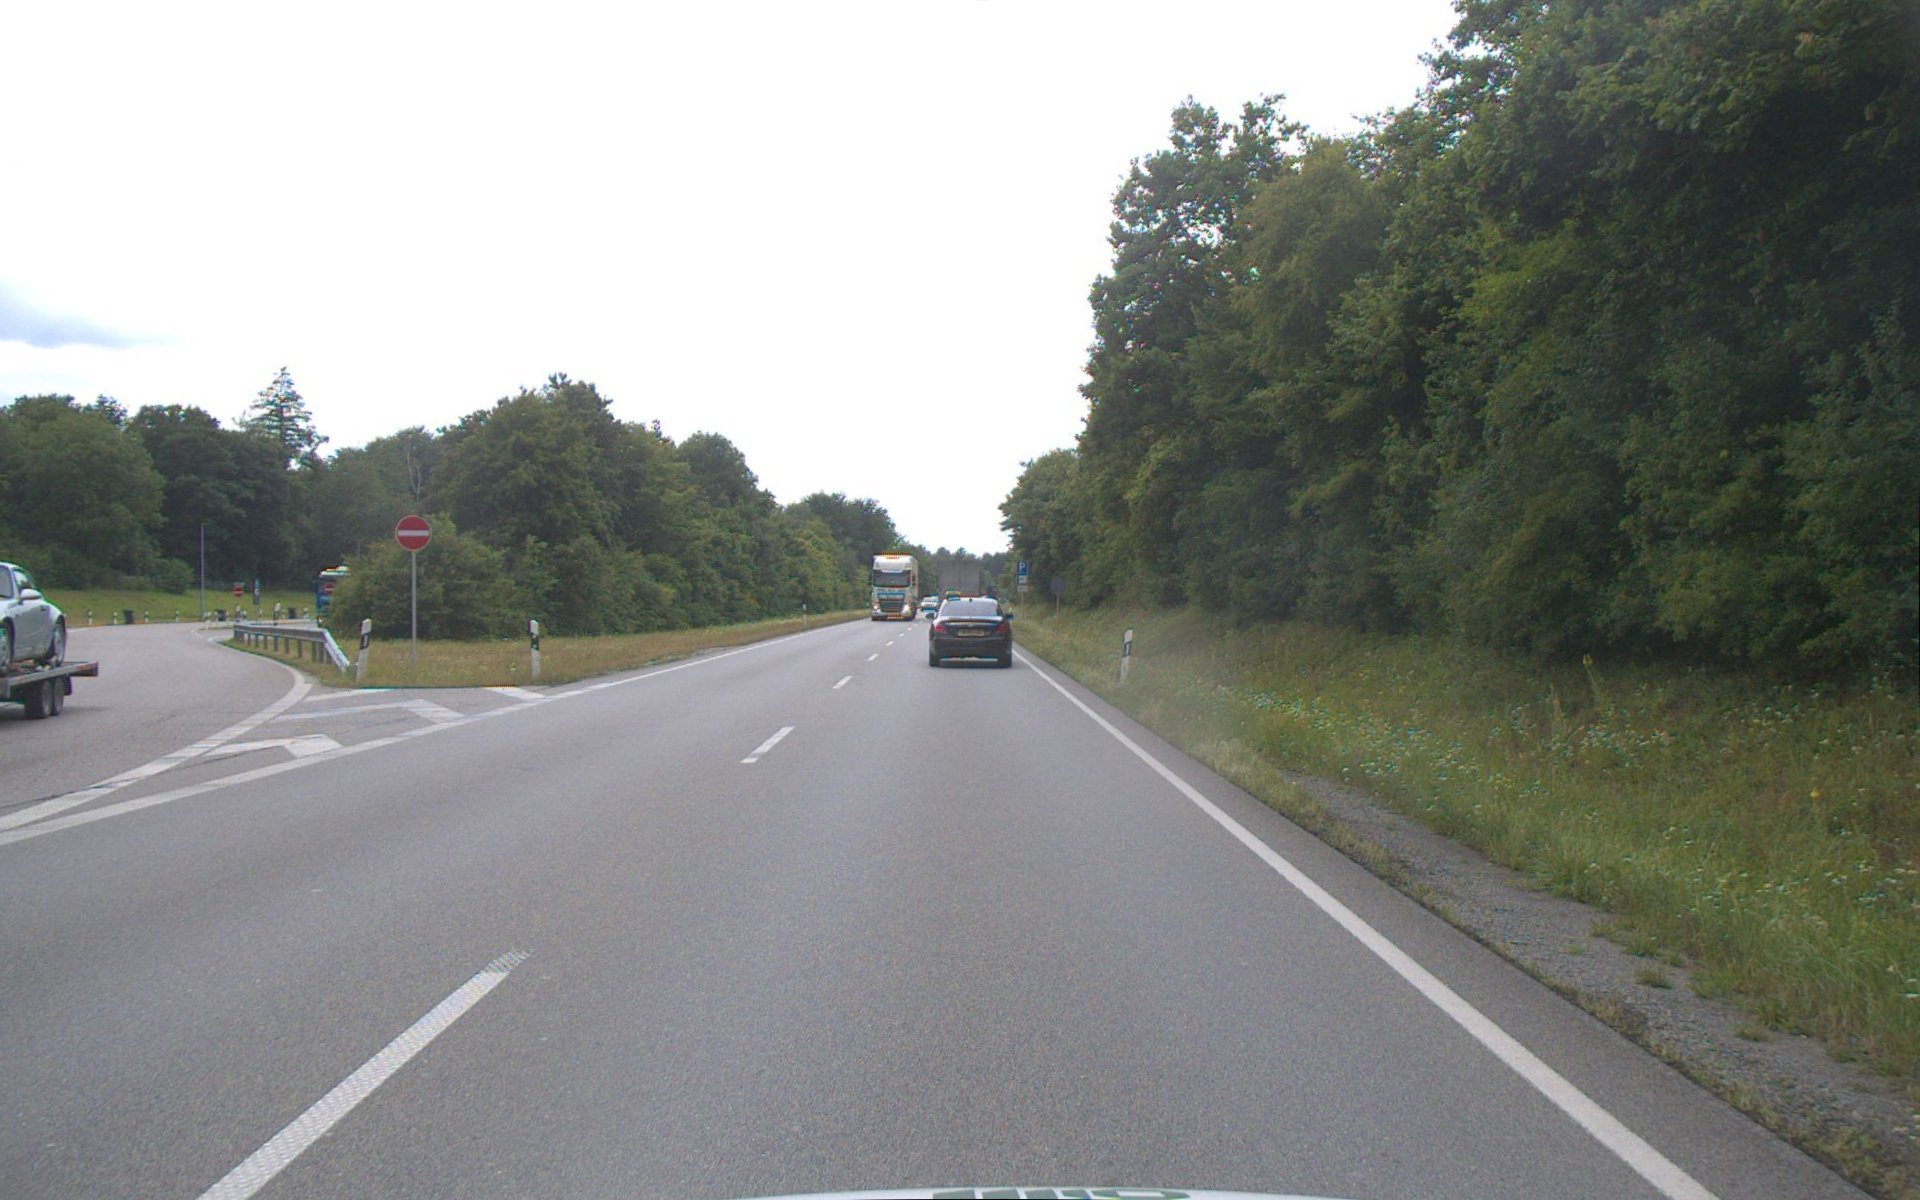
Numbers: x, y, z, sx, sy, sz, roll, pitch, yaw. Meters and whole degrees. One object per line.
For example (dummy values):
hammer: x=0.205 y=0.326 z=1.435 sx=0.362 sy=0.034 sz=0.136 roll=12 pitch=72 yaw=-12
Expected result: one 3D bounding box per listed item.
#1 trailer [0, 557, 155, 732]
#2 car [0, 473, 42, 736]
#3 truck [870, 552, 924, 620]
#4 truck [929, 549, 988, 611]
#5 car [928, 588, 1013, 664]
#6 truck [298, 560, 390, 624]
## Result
trailer: x=-11.439 y=0.449 z=19.782 sx=2.019 sy=1.823 sz=5.670 roll=1 pitch=0 yaw=-14
car: x=-9.940 y=0.076 z=13.493 sx=2.217 sy=2.574 sz=7.141 roll=-2 pitch=0 yaw=-12
truck: x=-4.019 y=-0.862 z=107.712 sx=3.124 sy=4.133 sz=9.574 roll=1 pitch=0 yaw=0
truck: x=0.006 y=-1.174 z=104.494 sx=3.212 sy=3.675 sz=11.403 roll=1 pitch=0 yaw=2
car: x=0.188 y=0.562 z=36.944 sx=1.755 sy=1.579 sz=3.999 roll=1 pitch=0 yaw=-1
truck: x=-30.746 y=-0.375 z=82.773 sx=1.953 sy=3.065 sz=7.225 roll=1 pitch=0 yaw=-1
